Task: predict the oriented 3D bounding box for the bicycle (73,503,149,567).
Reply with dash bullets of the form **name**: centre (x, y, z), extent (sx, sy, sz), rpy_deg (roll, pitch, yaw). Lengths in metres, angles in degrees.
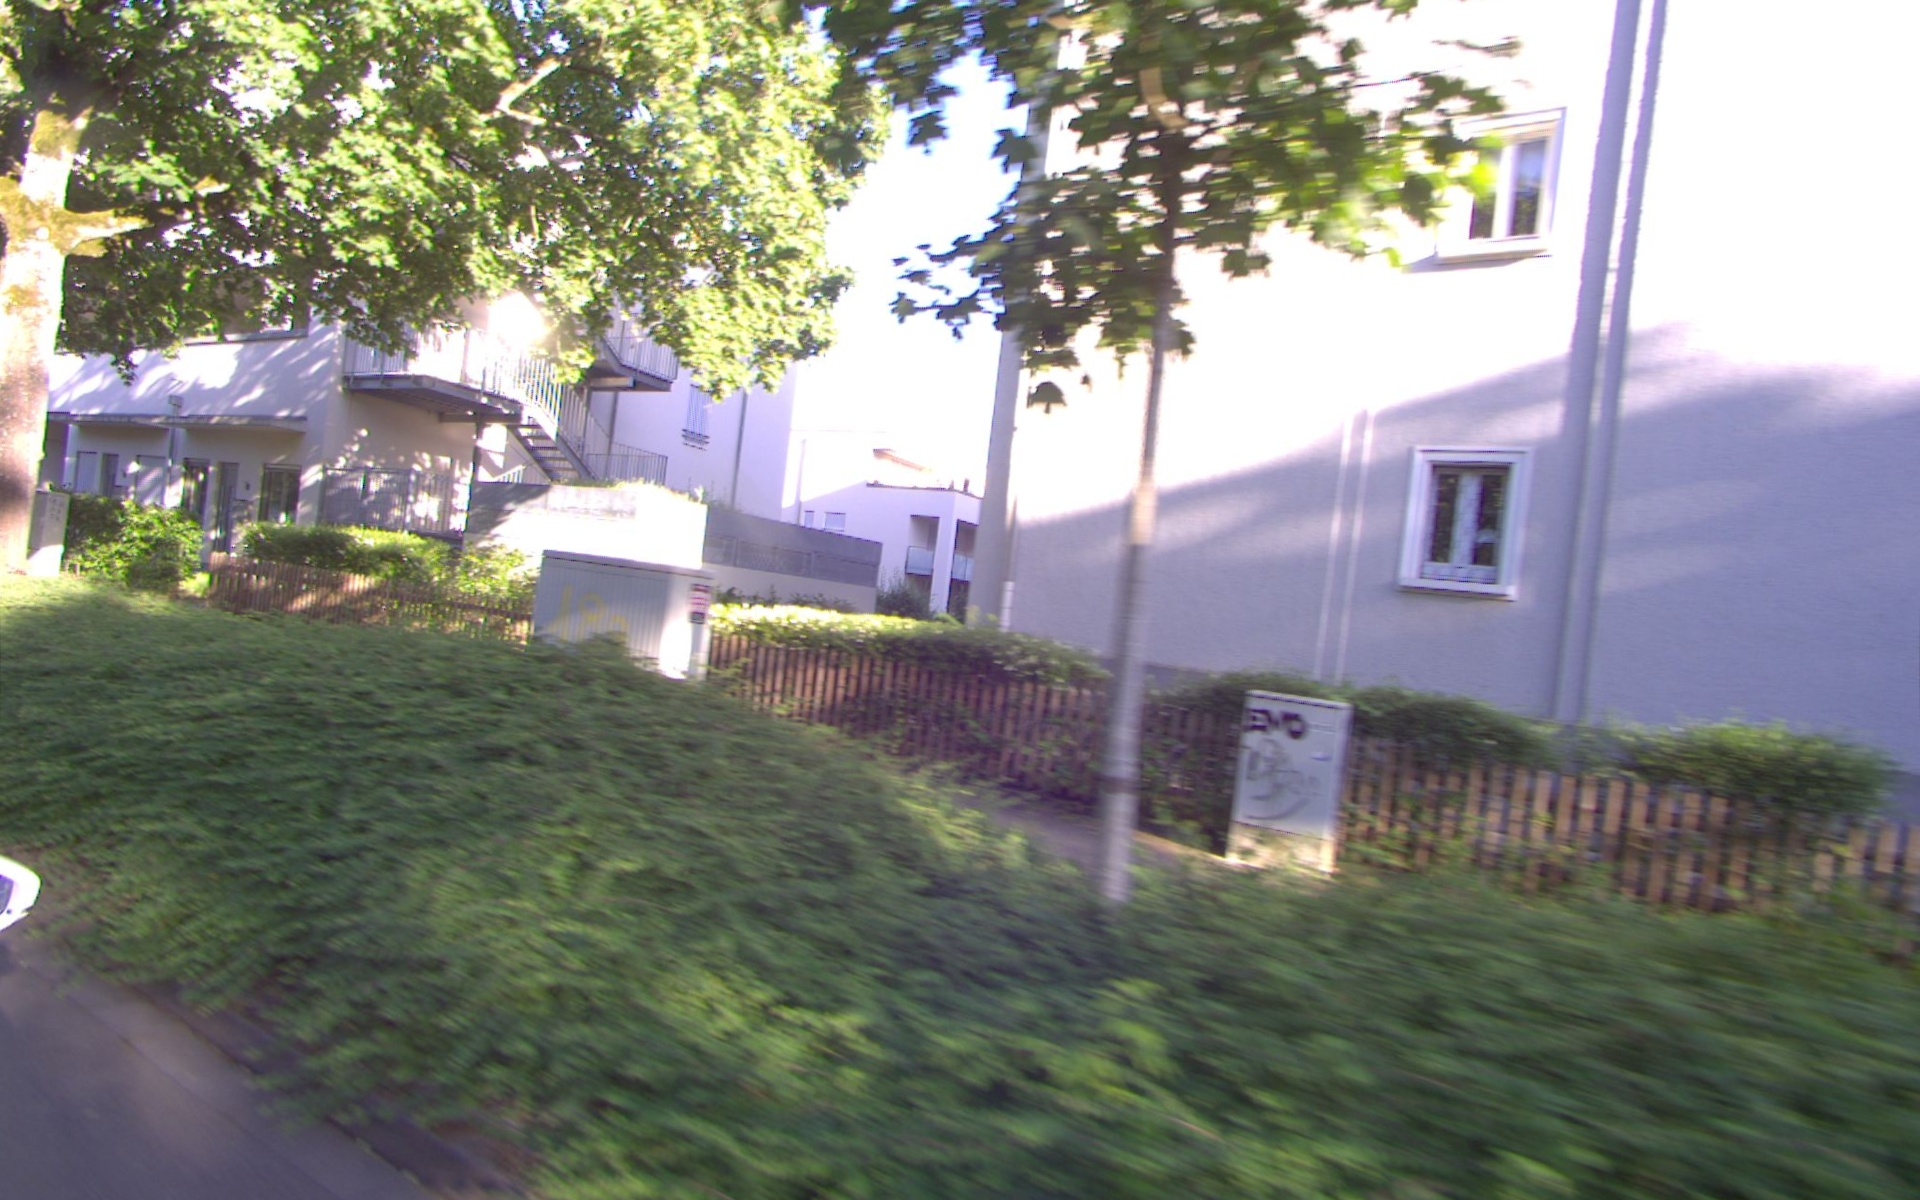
- **bicycle**: centre (-18.450, -1.422, 21.853), extent (1.724, 1.205, 0.619), rpy_deg (7, -1, 31)
